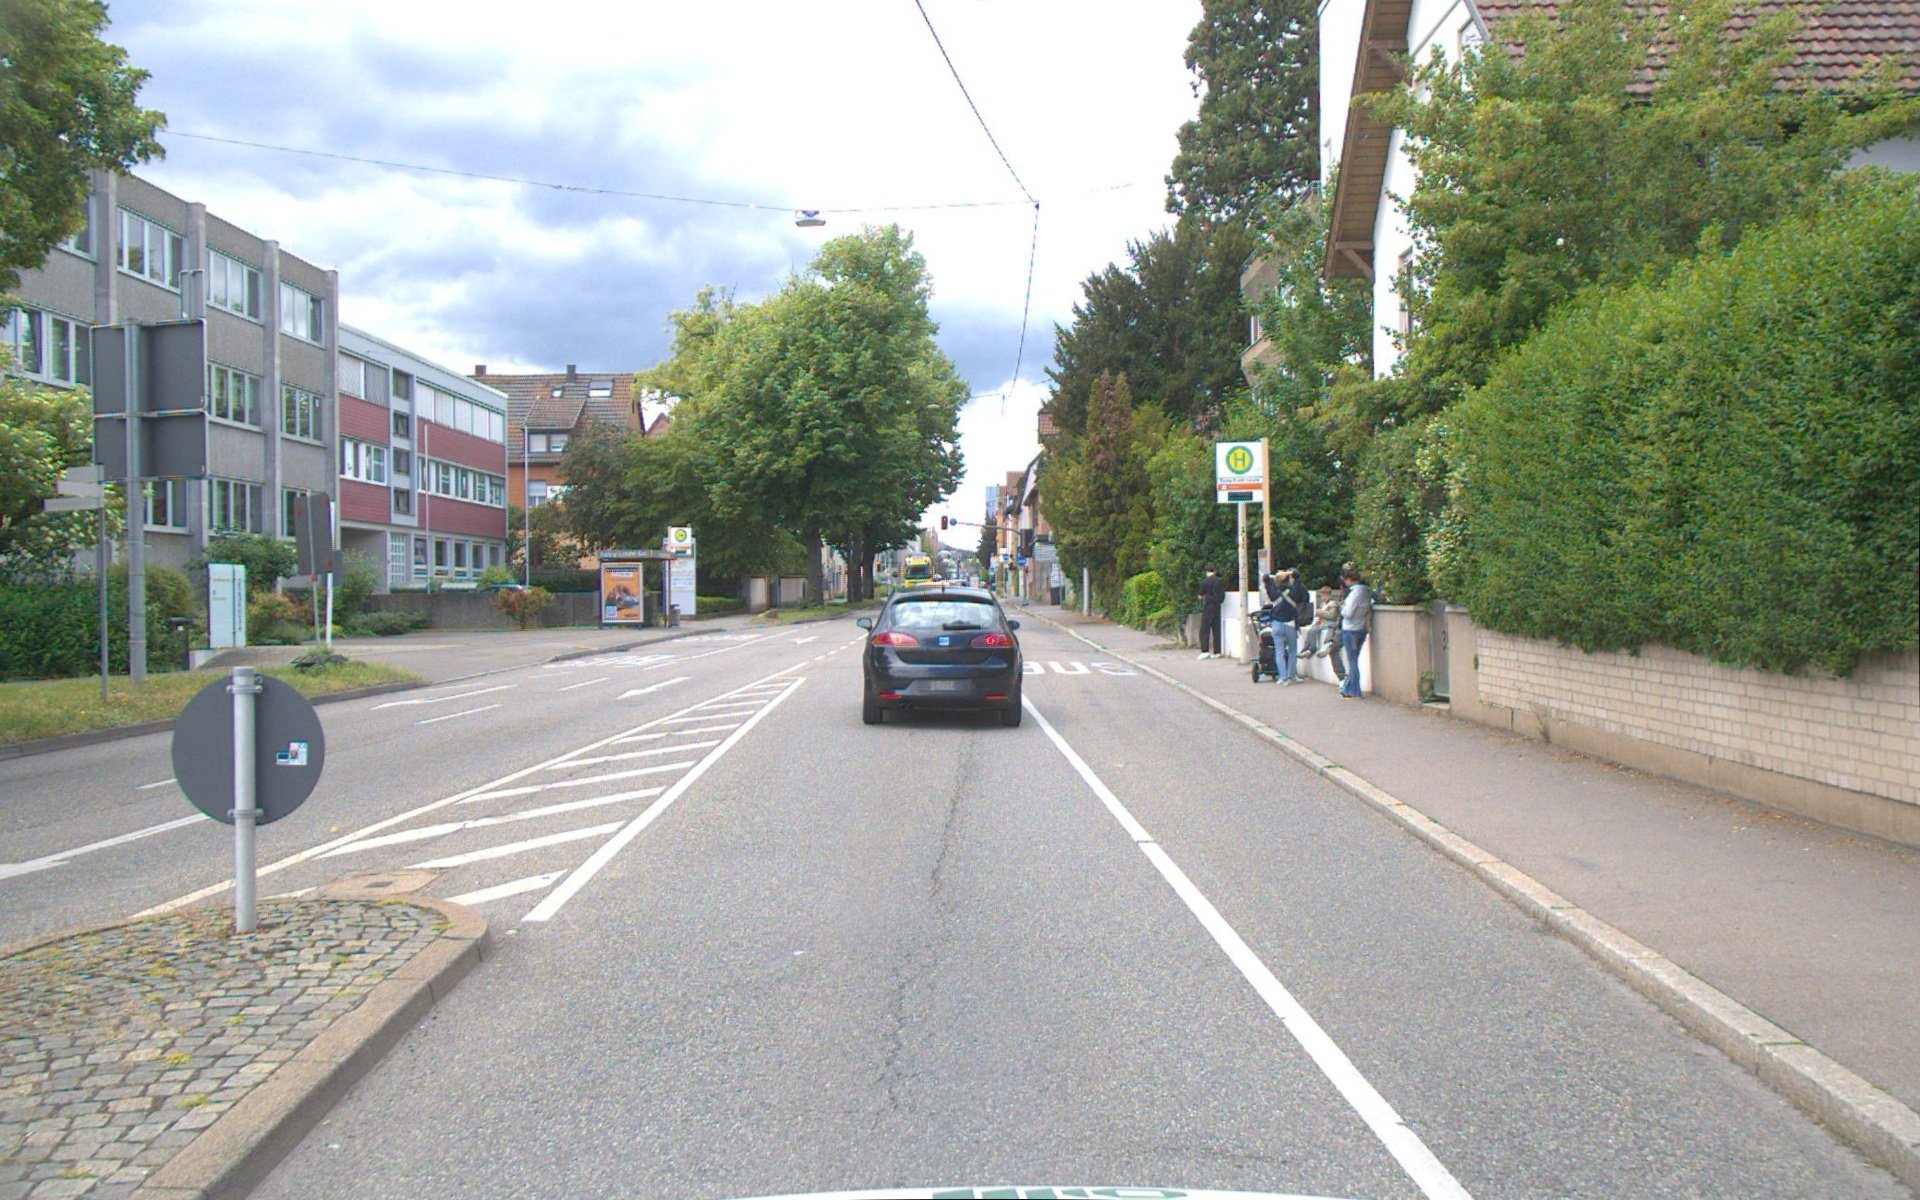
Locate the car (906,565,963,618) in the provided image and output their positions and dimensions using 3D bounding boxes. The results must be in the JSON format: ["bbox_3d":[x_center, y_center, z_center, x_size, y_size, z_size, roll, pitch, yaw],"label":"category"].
[{"bbox_3d":[-0.840,-0.331,57.033,1.781,1.729,4.254,-1,1,1],"label":"car"}]

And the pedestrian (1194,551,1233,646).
[{"bbox_3d":[4.762,-0.026,31.065,0.574,1.741,0.529,-2,0,-1],"label":"pedestrian"}]

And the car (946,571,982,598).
[{"bbox_3d":[0.200,-0.928,95.808,1.902,1.507,4.251,-1,1,-3],"label":"car"}]

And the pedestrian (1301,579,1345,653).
[{"bbox_3d":[4.996,0.220,22.757,0.445,0.981,0.382,-4,1,-6],"label":"pedestrian"}]

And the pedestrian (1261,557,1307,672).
[{"bbox_3d":[4.440,0.194,22.652,0.538,1.543,0.362,-3,1,9],"label":"pedestrian"}]

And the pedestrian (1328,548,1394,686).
[{"bbox_3d":[4.751,0.194,19.616,0.533,1.582,0.470,-4,1,-9],"label":"pedestrian"}]

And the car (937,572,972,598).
[{"bbox_3d":[-0.358,-1.019,110.453,1.951,1.713,4.003,-1,0,5],"label":"car"}]

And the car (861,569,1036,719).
[{"bbox_3d":[-0.220,0.422,18.633,1.724,1.474,3.712,2,1,-4],"label":"car"}]

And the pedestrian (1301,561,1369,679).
[{"bbox_3d":[4.775,0.252,21.064,0.609,1.452,0.511,-3,1,38],"label":"pedestrian"}]

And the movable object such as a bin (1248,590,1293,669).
[{"bbox_3d":[4.431,0.422,23.593,0.432,1.076,0.568,-3,1,26],"label":"movable object such as a bin"}]

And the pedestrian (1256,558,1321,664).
[{"bbox_3d":[4.852,0.155,24.451,0.765,1.526,0.604,-2,0,-6],"label":"pedestrian"}]

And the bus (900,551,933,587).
[{"bbox_3d":[-3.890,-2.796,149.178,2.810,3.191,6.396,-1,1,-1],"label":"bus"}]

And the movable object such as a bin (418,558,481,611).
[{"bbox_3d":[-20.038,-0.613,64.965,1.953,2.049,1.542,-1,1,-1],"label":"movable object such as a bin"}]
